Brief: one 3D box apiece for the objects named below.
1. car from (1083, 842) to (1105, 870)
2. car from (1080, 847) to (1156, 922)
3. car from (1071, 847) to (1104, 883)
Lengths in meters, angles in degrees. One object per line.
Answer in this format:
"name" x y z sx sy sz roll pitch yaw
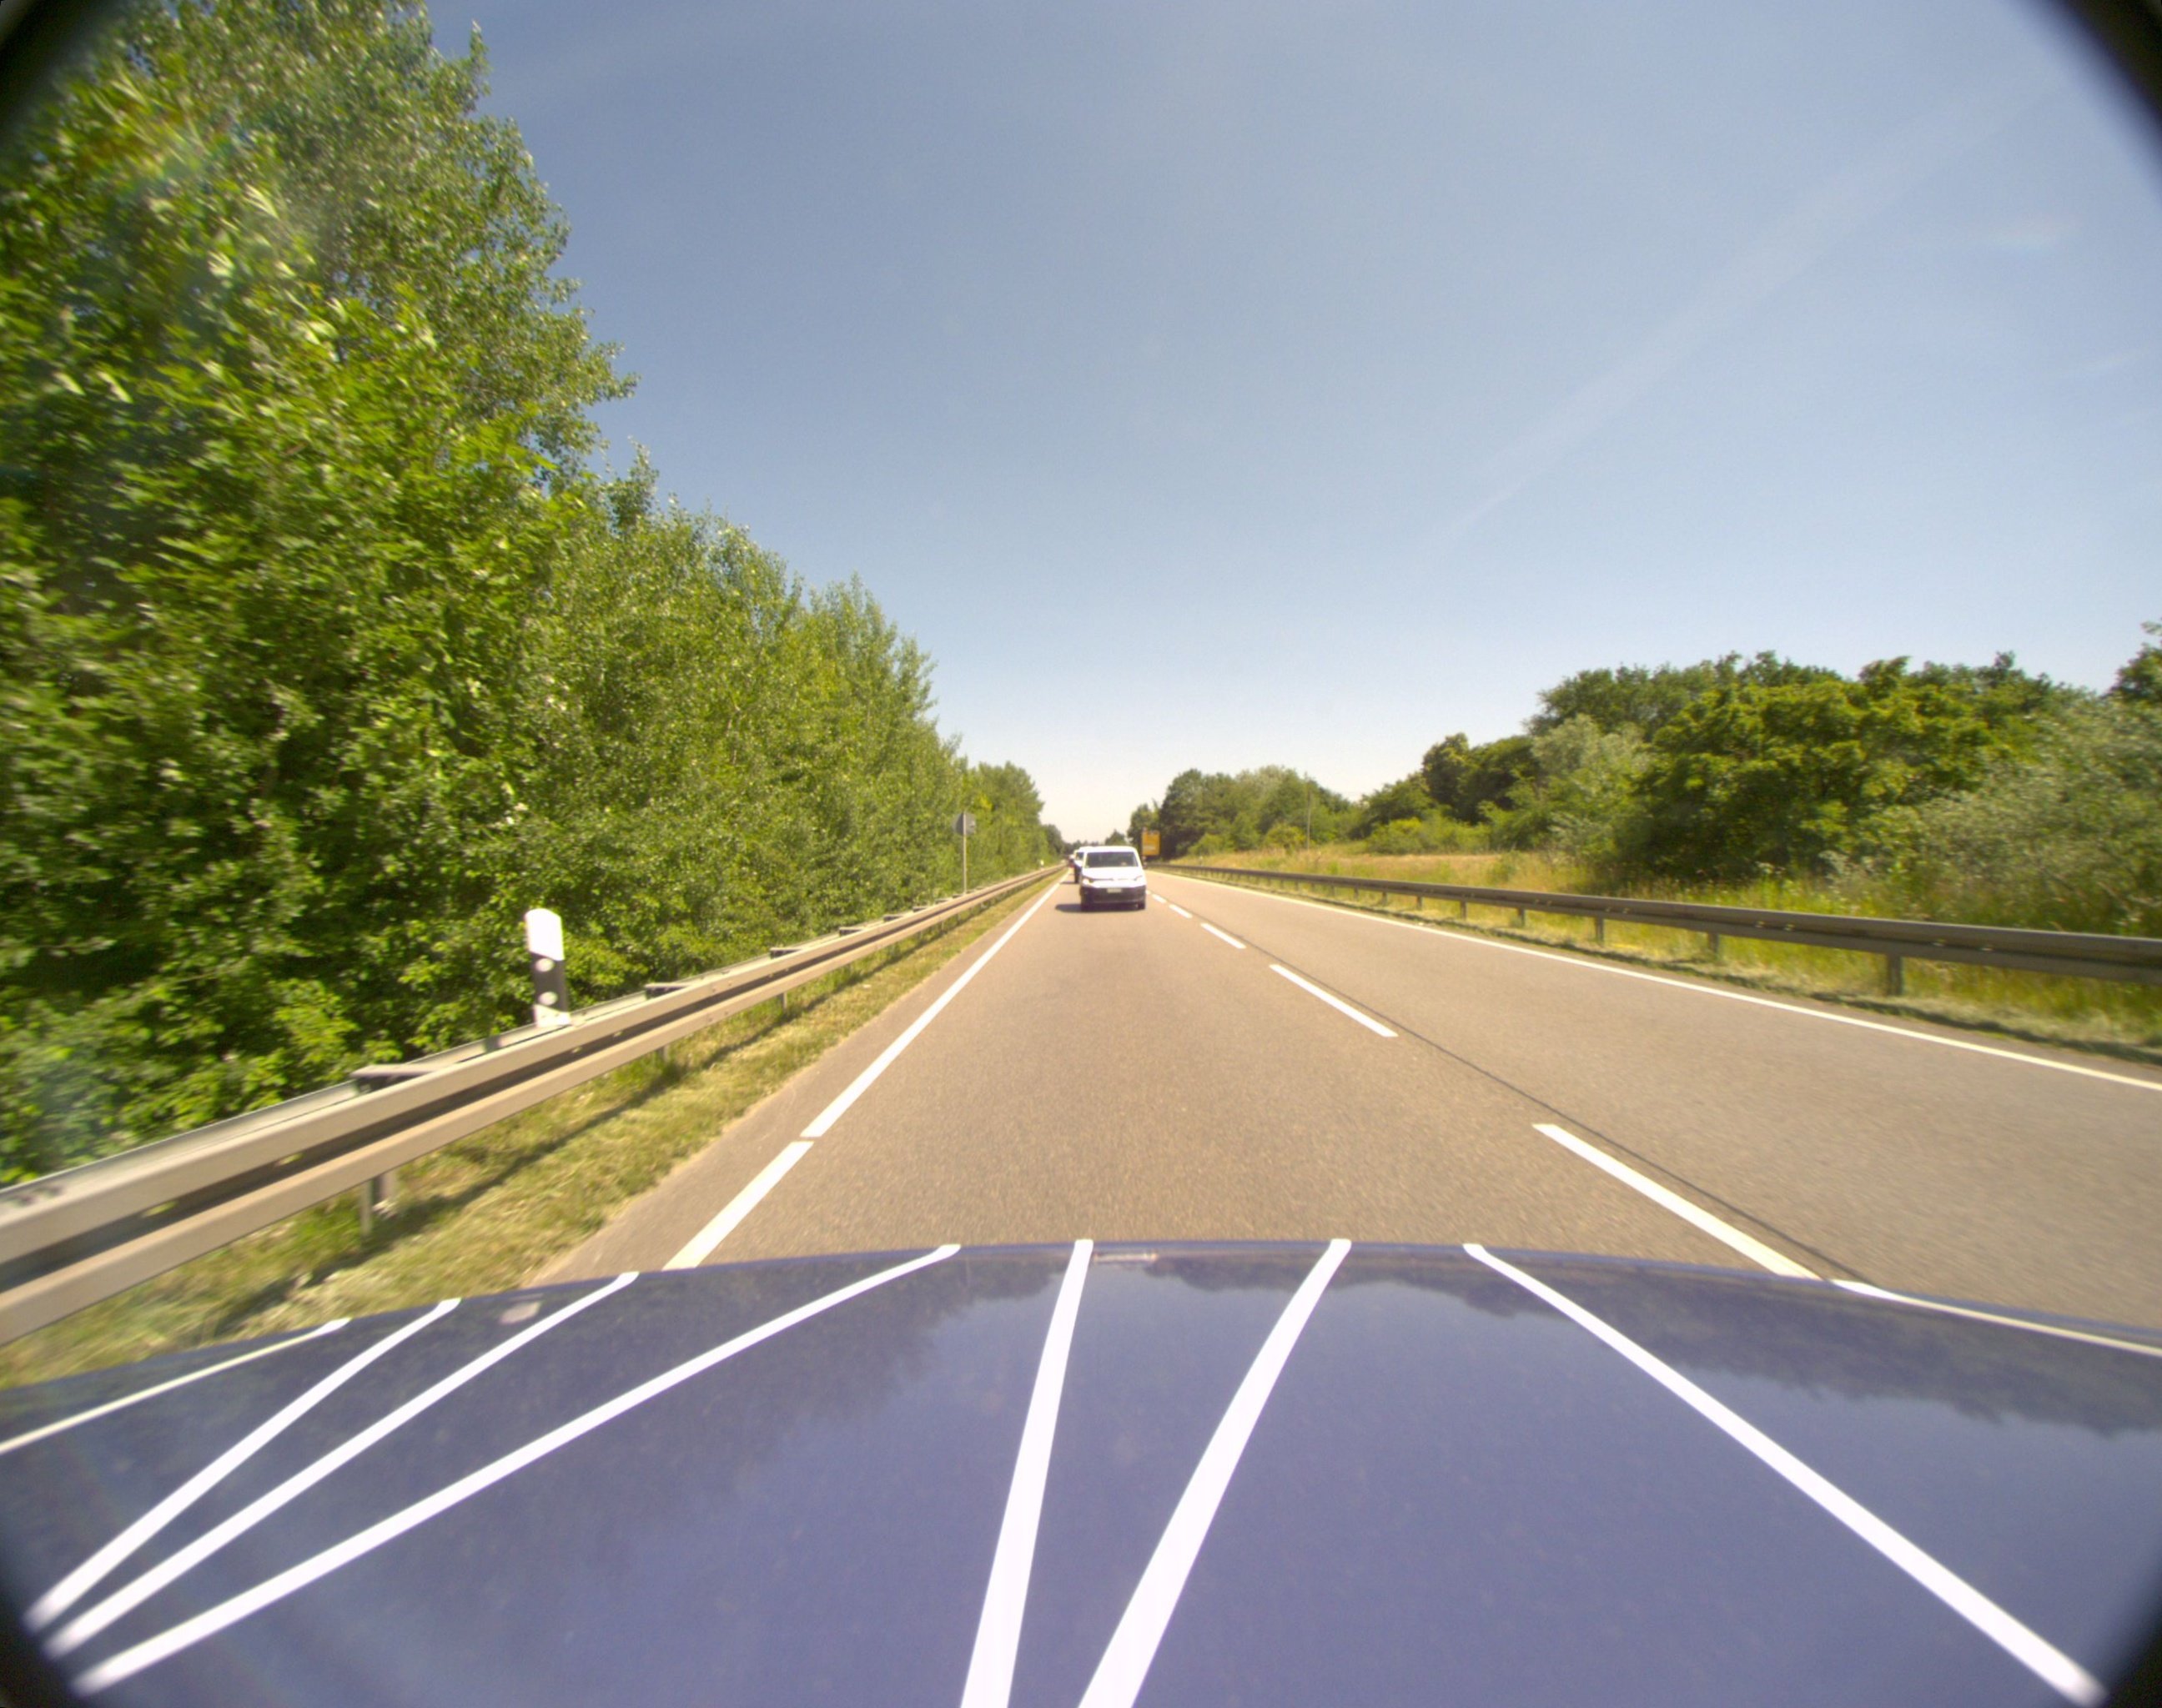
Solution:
"car" 1.171 0.162 68.165 1.782 2.287 4.105 -2 0 1
"car" 0.933 0.717 20.639 1.782 1.743 4.512 -2 0 1
"car" 0.383 0.591 44.286 1.782 1.960 4.105 -2 0 1
